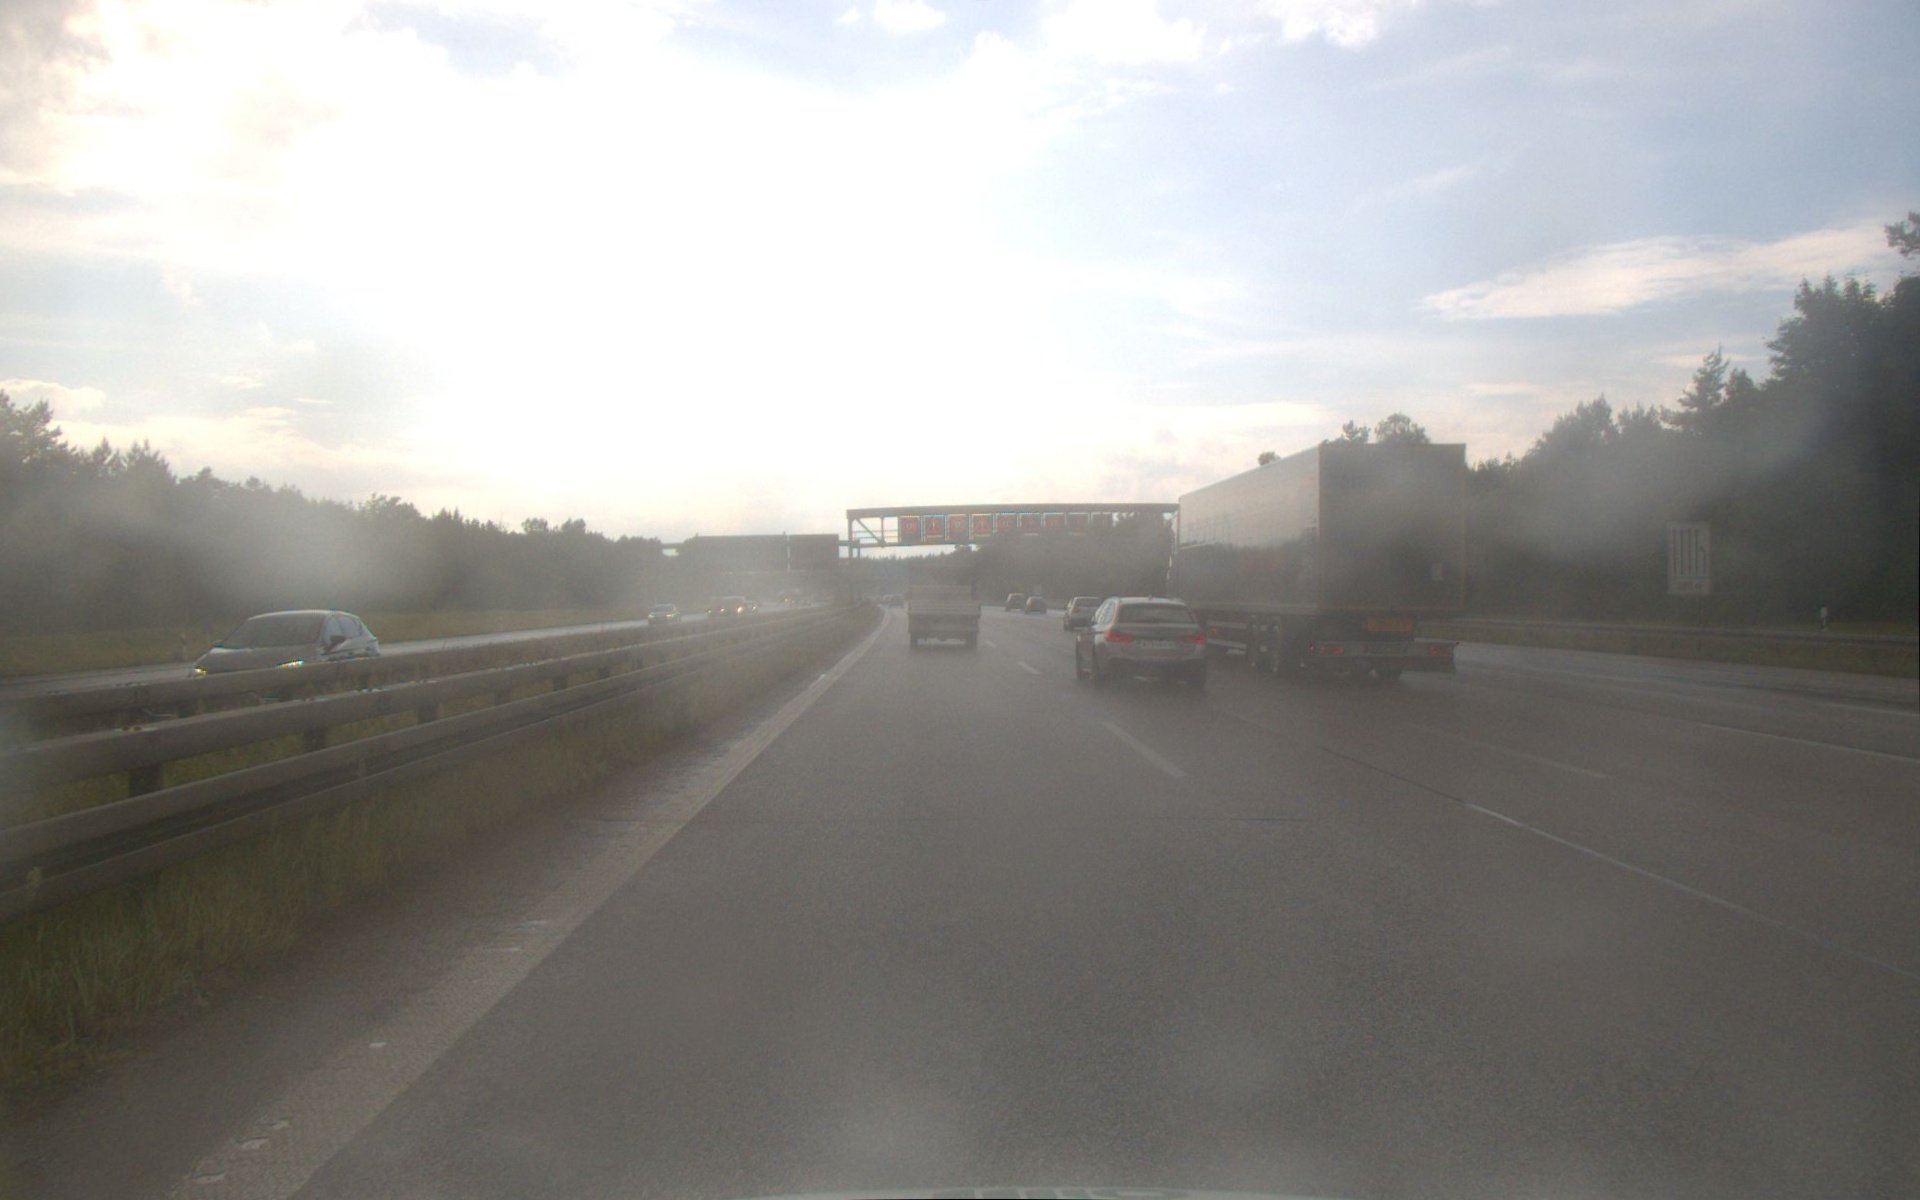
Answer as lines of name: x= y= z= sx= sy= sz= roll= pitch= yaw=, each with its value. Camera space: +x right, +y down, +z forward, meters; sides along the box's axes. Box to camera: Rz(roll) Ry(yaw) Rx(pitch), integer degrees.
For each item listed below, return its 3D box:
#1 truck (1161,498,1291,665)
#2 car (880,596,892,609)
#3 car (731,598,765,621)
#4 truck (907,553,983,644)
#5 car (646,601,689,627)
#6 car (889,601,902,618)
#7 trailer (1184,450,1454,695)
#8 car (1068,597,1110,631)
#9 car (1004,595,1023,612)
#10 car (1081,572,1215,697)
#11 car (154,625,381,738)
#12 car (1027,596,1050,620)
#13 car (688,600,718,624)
truck: x=6.620 y=-0.443 z=41.785 sx=2.247 sy=3.935 sz=5.390 roll=0 pitch=0 yaw=-2
car: x=-11.446 y=0.378 z=256.405 sx=1.758 sy=2.049 sz=4.000 roll=1 pitch=0 yaw=-1
car: x=-15.284 y=0.649 z=119.345 sx=1.953 sy=1.637 sz=4.607 roll=0 pitch=0 yaw=-2
truck: x=-0.397 y=-0.056 z=48.351 sx=2.093 sy=2.532 sz=5.313 roll=0 pitch=0 yaw=0
car: x=-18.699 y=0.887 z=105.948 sx=1.953 sy=1.526 sz=4.607 roll=-2 pitch=0 yaw=-2
car: x=-8.220 y=1.238 z=210.605 sx=1.584 sy=2.049 sz=3.998 roll=1 pitch=0 yaw=-2
trailer: x=6.885 y=-0.461 z=34.222 sx=2.277 sy=4.071 sz=13.406 roll=0 pitch=0 yaw=-2
car: x=5.844 y=0.610 z=75.268 sx=1.793 sy=1.492 sz=4.001 roll=0 pitch=0 yaw=2
car: x=5.528 y=0.322 z=172.188 sx=1.706 sy=1.718 sz=3.998 roll=0 pitch=0 yaw=-2
car: x=3.117 y=0.520 z=28.385 sx=2.034 sy=1.918 sz=5.014 roll=1 pitch=0 yaw=4
car: x=-10.172 y=1.139 z=24.630 sx=1.837 sy=1.456 sz=3.998 roll=-1 pitch=0 yaw=-3
car: x=7.048 y=0.685 z=148.290 sx=1.952 sy=2.049 sz=4.001 roll=1 pitch=0 yaw=1
car: x=-22.548 y=1.046 z=145.503 sx=1.954 sy=1.950 sz=4.722 roll=-3 pitch=0 yaw=-2
